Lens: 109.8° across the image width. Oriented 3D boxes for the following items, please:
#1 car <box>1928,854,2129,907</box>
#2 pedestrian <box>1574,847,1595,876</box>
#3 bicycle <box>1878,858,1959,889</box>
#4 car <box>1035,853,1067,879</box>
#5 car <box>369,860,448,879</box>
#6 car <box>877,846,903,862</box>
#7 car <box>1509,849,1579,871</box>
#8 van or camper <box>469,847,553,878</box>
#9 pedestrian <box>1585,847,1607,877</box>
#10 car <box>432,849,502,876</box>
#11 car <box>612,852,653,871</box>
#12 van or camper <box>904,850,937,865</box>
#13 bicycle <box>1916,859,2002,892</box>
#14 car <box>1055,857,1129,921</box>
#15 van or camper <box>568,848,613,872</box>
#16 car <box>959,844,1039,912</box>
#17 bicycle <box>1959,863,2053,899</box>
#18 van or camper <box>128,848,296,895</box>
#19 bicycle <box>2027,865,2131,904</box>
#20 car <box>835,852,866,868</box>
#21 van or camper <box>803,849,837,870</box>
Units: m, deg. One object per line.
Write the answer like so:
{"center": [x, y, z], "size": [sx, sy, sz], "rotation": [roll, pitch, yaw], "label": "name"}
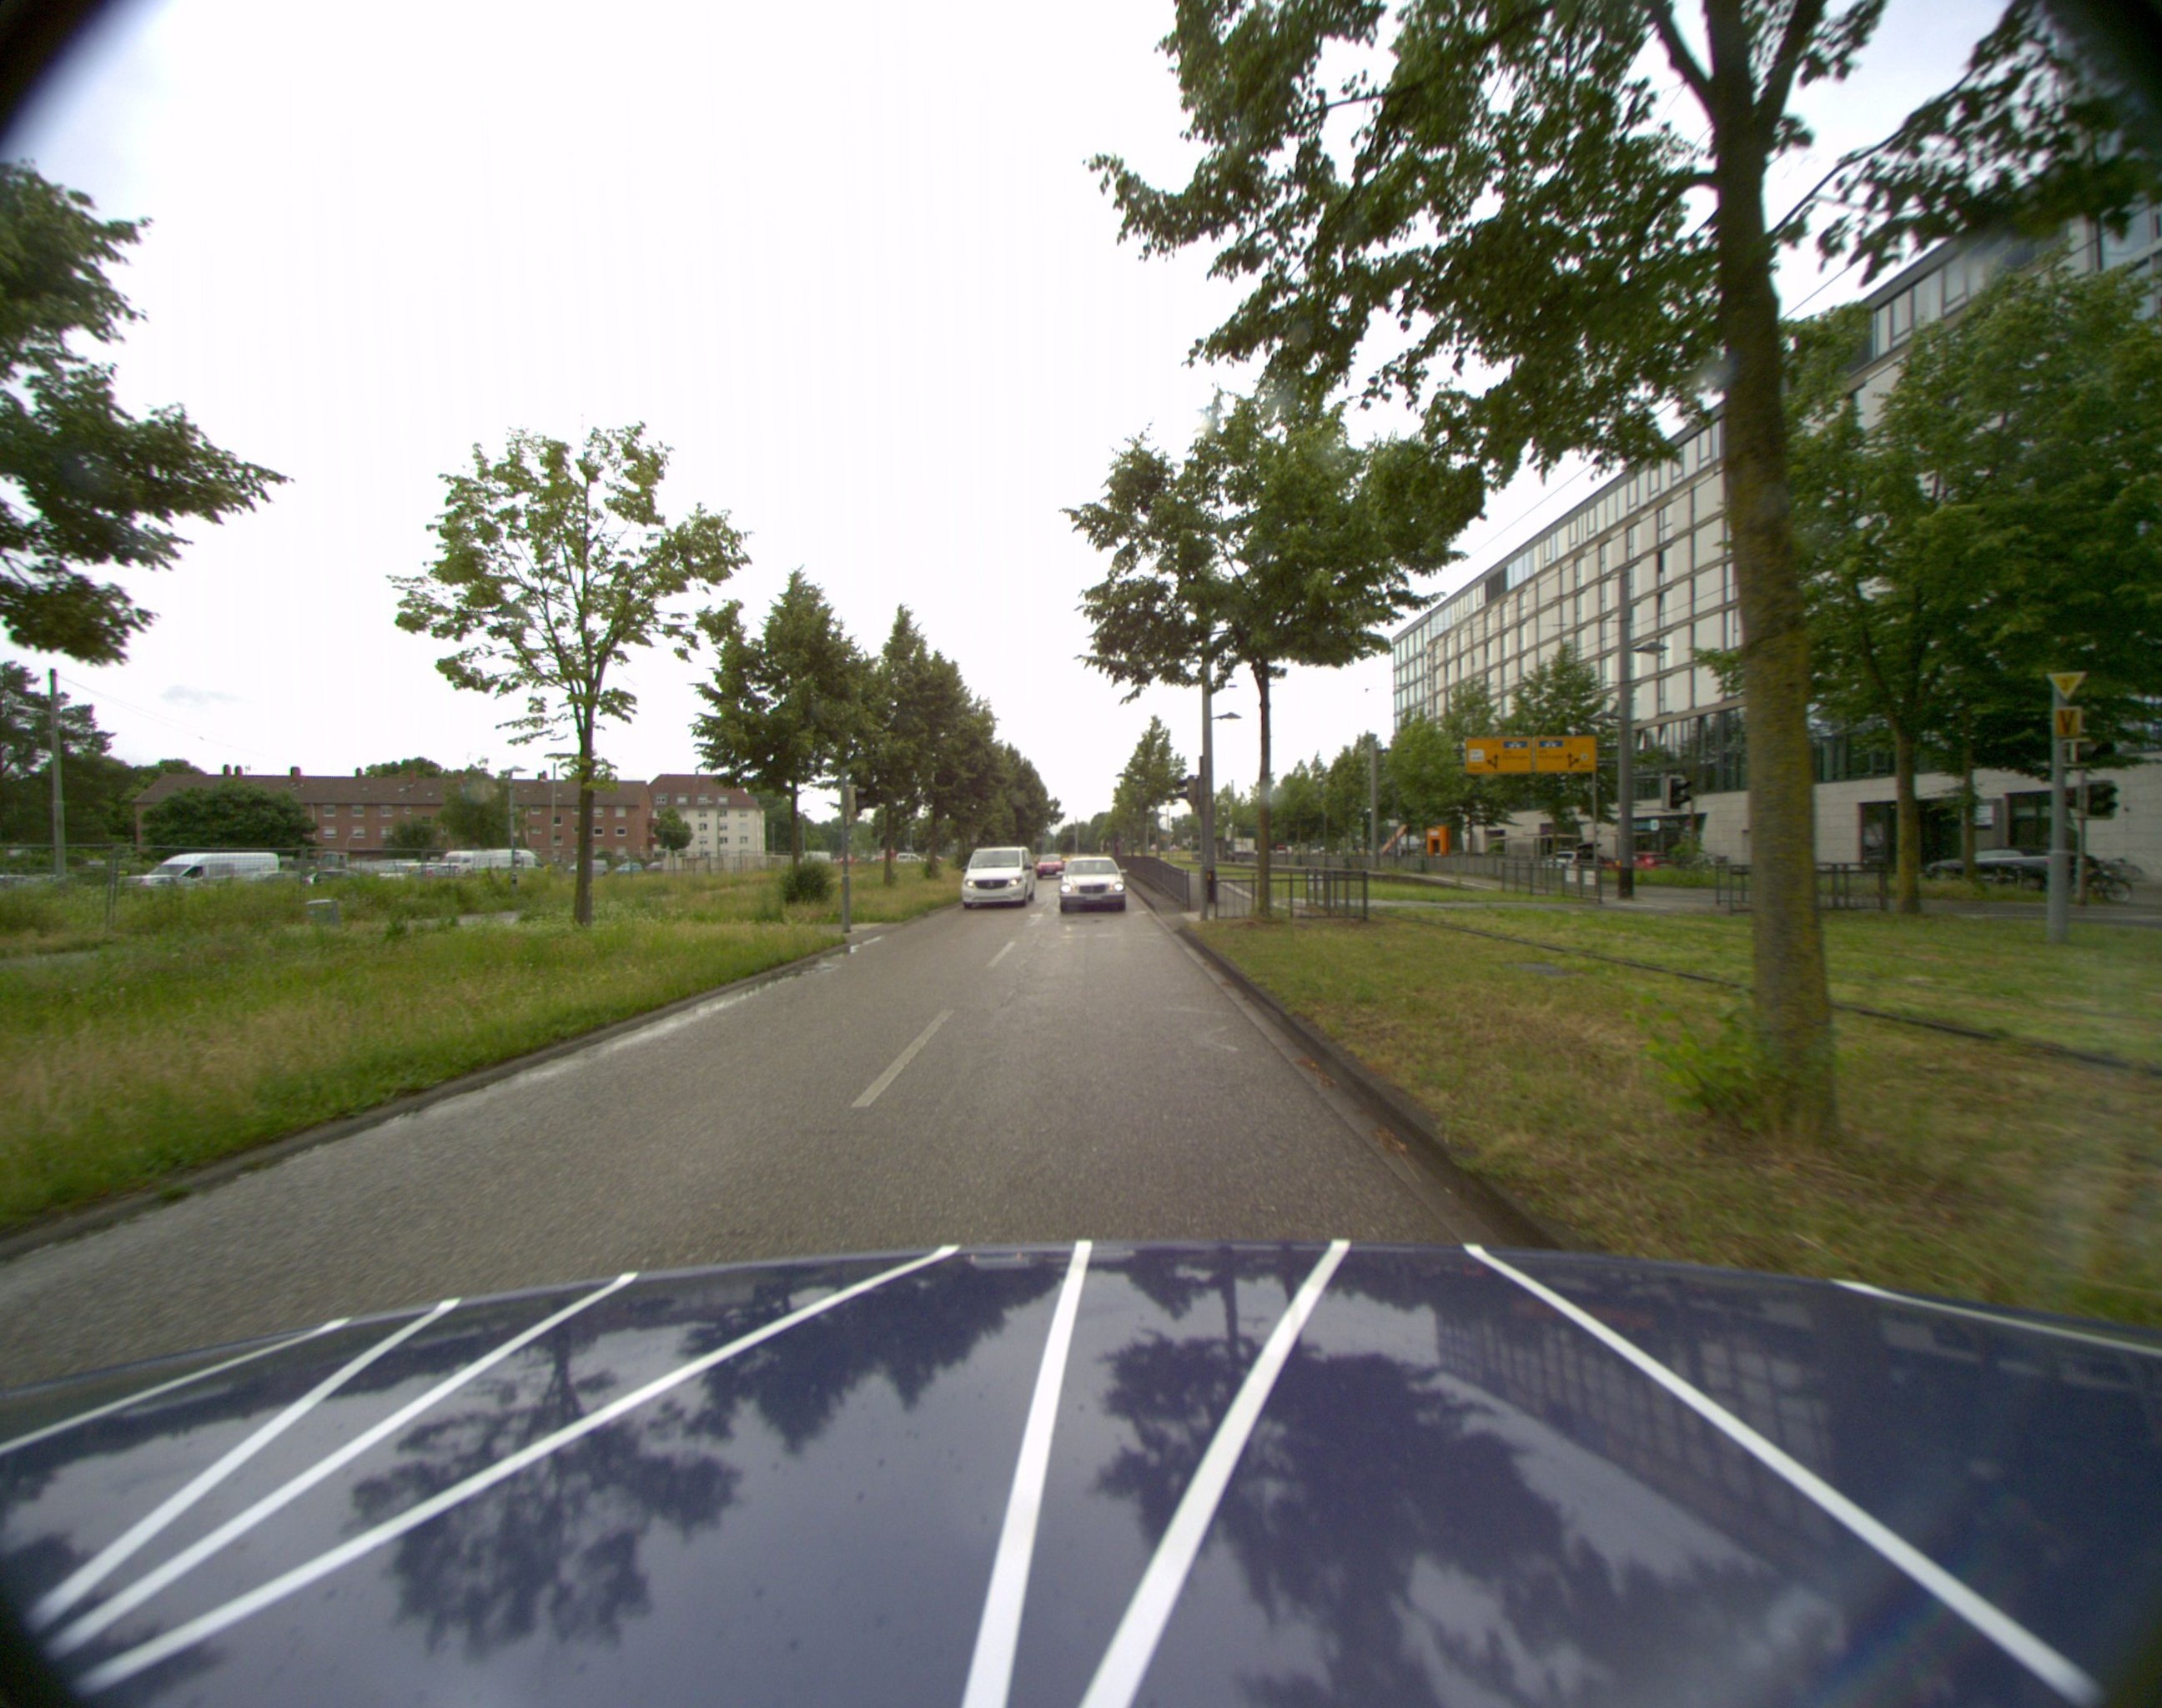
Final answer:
{"center": [33.605, 0.862, 27.168], "size": [1.998, 1.684, 4.192], "rotation": [-1, 0, 1], "label": "car"}
{"center": [29.170, 0.433, 44.045], "size": [0.712, 1.682, 0.793], "rotation": [-1, 1, 4], "label": "pedestrian"}
{"center": [29.110, 0.672, 26.421], "size": [1.983, 1.029, 0.696], "rotation": [-1, 1, 2], "label": "bicycle"}
{"center": [-1.964, 0.794, 51.326], "size": [1.799, 1.603, 4.246], "rotation": [-2, 0, 2], "label": "car"}
{"center": [-52.670, 1.162, 59.622], "size": [2.096, 1.344, 4.758], "rotation": [-2, 0, -3], "label": "car"}
{"center": [-28.348, 0.022, 112.732], "size": [1.996, 2.297, 4.004], "rotation": [-2, 0, 14], "label": "car"}
{"center": [28.588, 0.336, 47.069], "size": [1.998, 1.281, 4.070], "rotation": [-1, 1, 3], "label": "car"}
{"center": [-46.347, 0.652, 61.987], "size": [2.208, 2.294, 6.147], "rotation": [-2, 0, -1], "label": "van or camper"}
{"center": [29.956, 0.453, 44.197], "size": [0.712, 1.682, 0.793], "rotation": [-1, 1, 4], "label": "pedestrian"}
{"center": [-53.052, 0.696, 65.784], "size": [2.278, 2.207, 4.758], "rotation": [-2, 0, -3], "label": "car"}
{"center": [-54.272, 0.895, 92.075], "size": [2.278, 2.207, 4.758], "rotation": [-2, 0, -3], "label": "car"}
{"center": [-22.343, 0.523, 105.964], "size": [4.334, 2.002, 1.860], "rotation": [-2, 0, -5], "label": "van or camper"}
{"center": [28.982, 0.710, 25.107], "size": [1.983, 1.029, 0.696], "rotation": [-1, 1, 2], "label": "bicycle"}
{"center": [0.332, 0.861, 20.678], "size": [1.738, 1.451, 4.607], "rotation": [-2, 0, 1], "label": "car"}
{"center": [-53.539, 0.658, 83.109], "size": [1.919, 2.521, 5.258], "rotation": [-2, 0, -6], "label": "van or camper"}
{"center": [-2.549, 0.667, 24.791], "size": [1.972, 1.968, 5.091], "rotation": [-1, 1, 0], "label": "car"}
{"center": [28.628, 0.833, 23.534], "size": [1.983, 1.029, 0.696], "rotation": [-1, 1, 2], "label": "bicycle"}
{"center": [-52.159, 0.974, 45.924], "size": [2.783, 2.521, 6.418], "rotation": [-2, 0, -1], "label": "van or camper"}
{"center": [28.604, 0.866, 21.790], "size": [1.983, 1.029, 0.696], "rotation": [-1, 1, 2], "label": "bicycle"}
{"center": [-34.623, 0.870, 114.082], "size": [2.195, 2.297, 5.449], "rotation": [-2, 0, 9], "label": "car"}
{"center": [-40.850, 0.797, 119.146], "size": [2.343, 3.017, 5.514], "rotation": [-3, 1, 12], "label": "van or camper"}
